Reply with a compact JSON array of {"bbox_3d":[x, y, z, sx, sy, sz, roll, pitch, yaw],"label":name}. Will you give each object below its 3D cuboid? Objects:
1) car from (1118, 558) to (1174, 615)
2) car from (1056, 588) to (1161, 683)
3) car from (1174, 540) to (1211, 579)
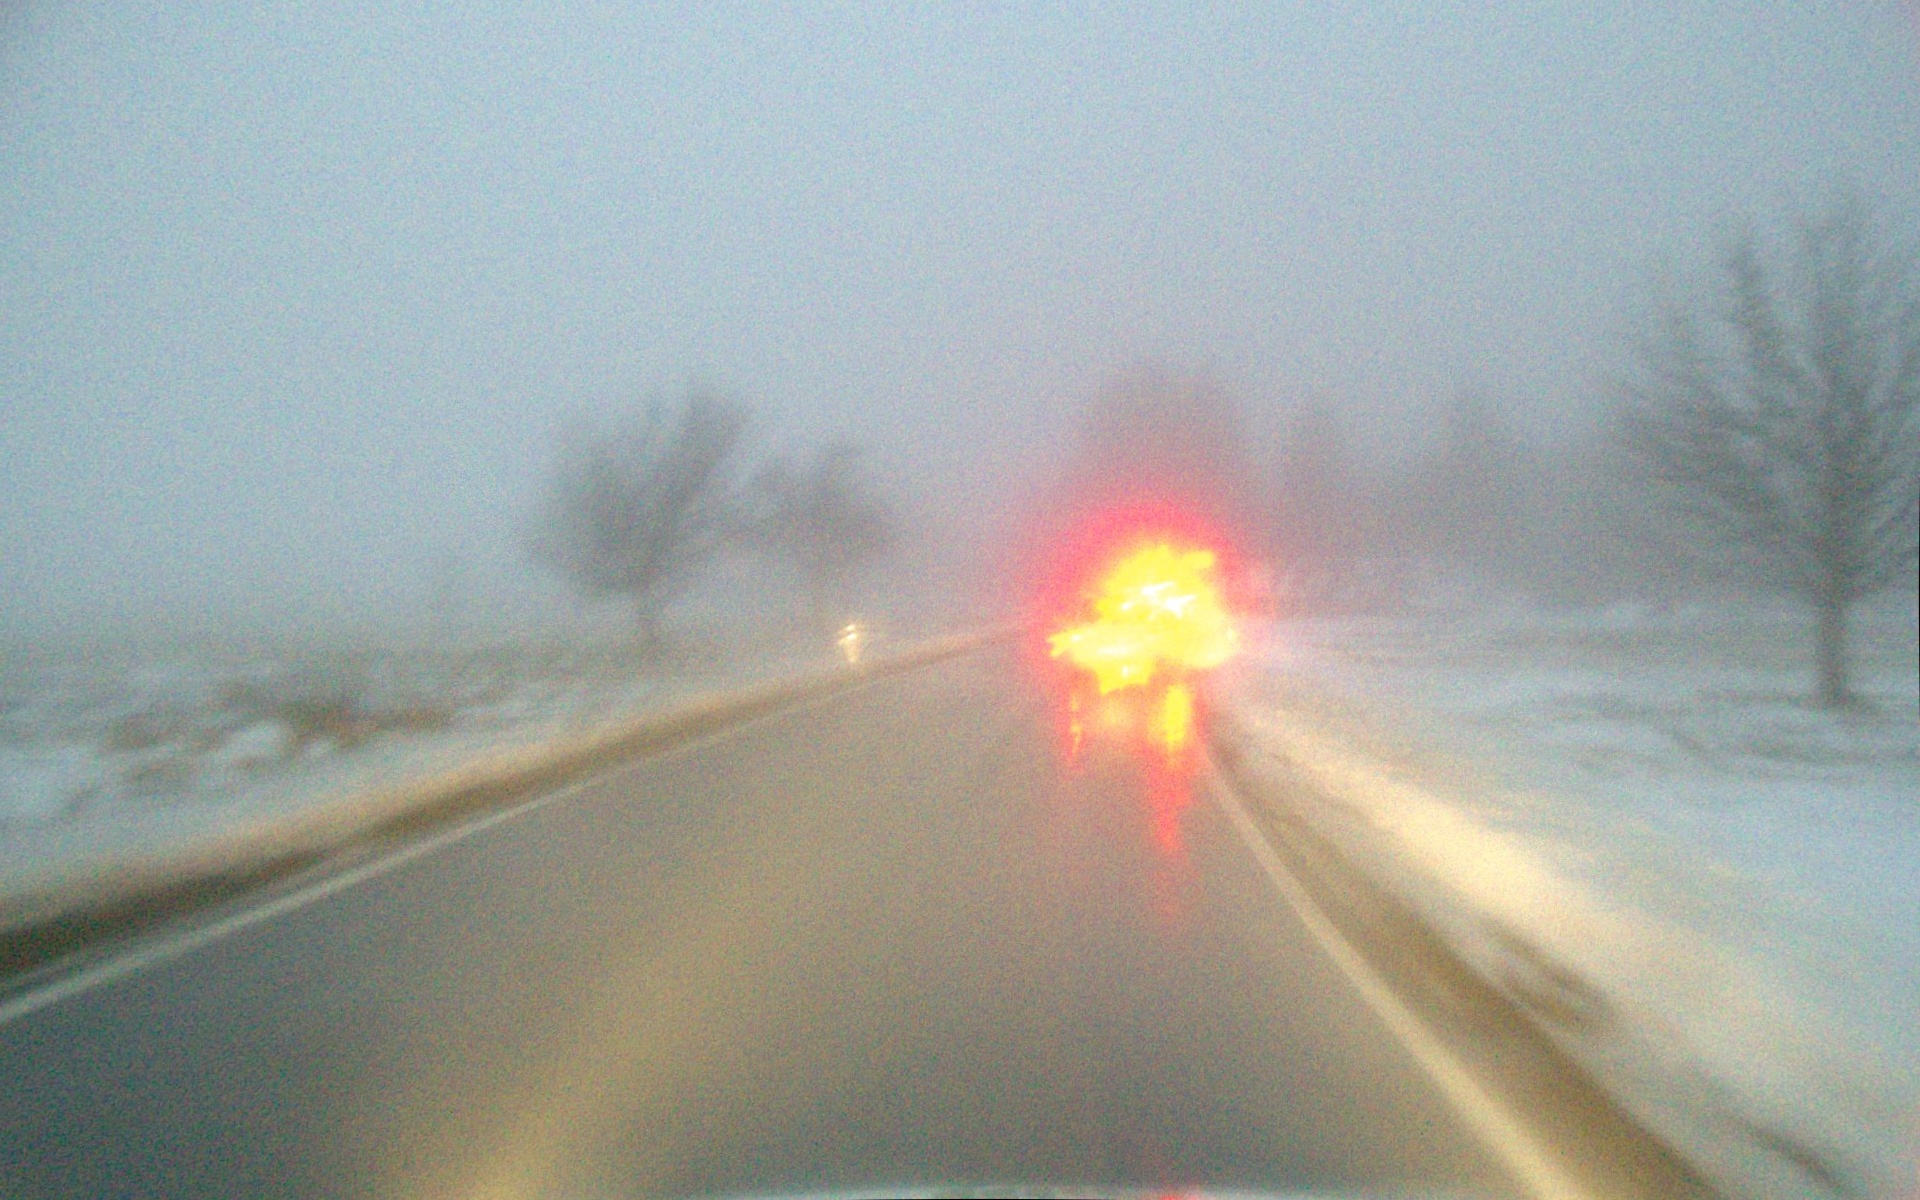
[{"bbox_3d":[5.271,-0.378,46.613,1.447,1.534,3.055,-1,0,8],"label":"car"},{"bbox_3d":[2.611,0.603,29.189,1.671,1.489,4.002,2,0,5],"label":"car"},{"bbox_3d":[9.834,-1.705,70.016,1.490,1.534,3.055,-1,0,8],"label":"car"}]
